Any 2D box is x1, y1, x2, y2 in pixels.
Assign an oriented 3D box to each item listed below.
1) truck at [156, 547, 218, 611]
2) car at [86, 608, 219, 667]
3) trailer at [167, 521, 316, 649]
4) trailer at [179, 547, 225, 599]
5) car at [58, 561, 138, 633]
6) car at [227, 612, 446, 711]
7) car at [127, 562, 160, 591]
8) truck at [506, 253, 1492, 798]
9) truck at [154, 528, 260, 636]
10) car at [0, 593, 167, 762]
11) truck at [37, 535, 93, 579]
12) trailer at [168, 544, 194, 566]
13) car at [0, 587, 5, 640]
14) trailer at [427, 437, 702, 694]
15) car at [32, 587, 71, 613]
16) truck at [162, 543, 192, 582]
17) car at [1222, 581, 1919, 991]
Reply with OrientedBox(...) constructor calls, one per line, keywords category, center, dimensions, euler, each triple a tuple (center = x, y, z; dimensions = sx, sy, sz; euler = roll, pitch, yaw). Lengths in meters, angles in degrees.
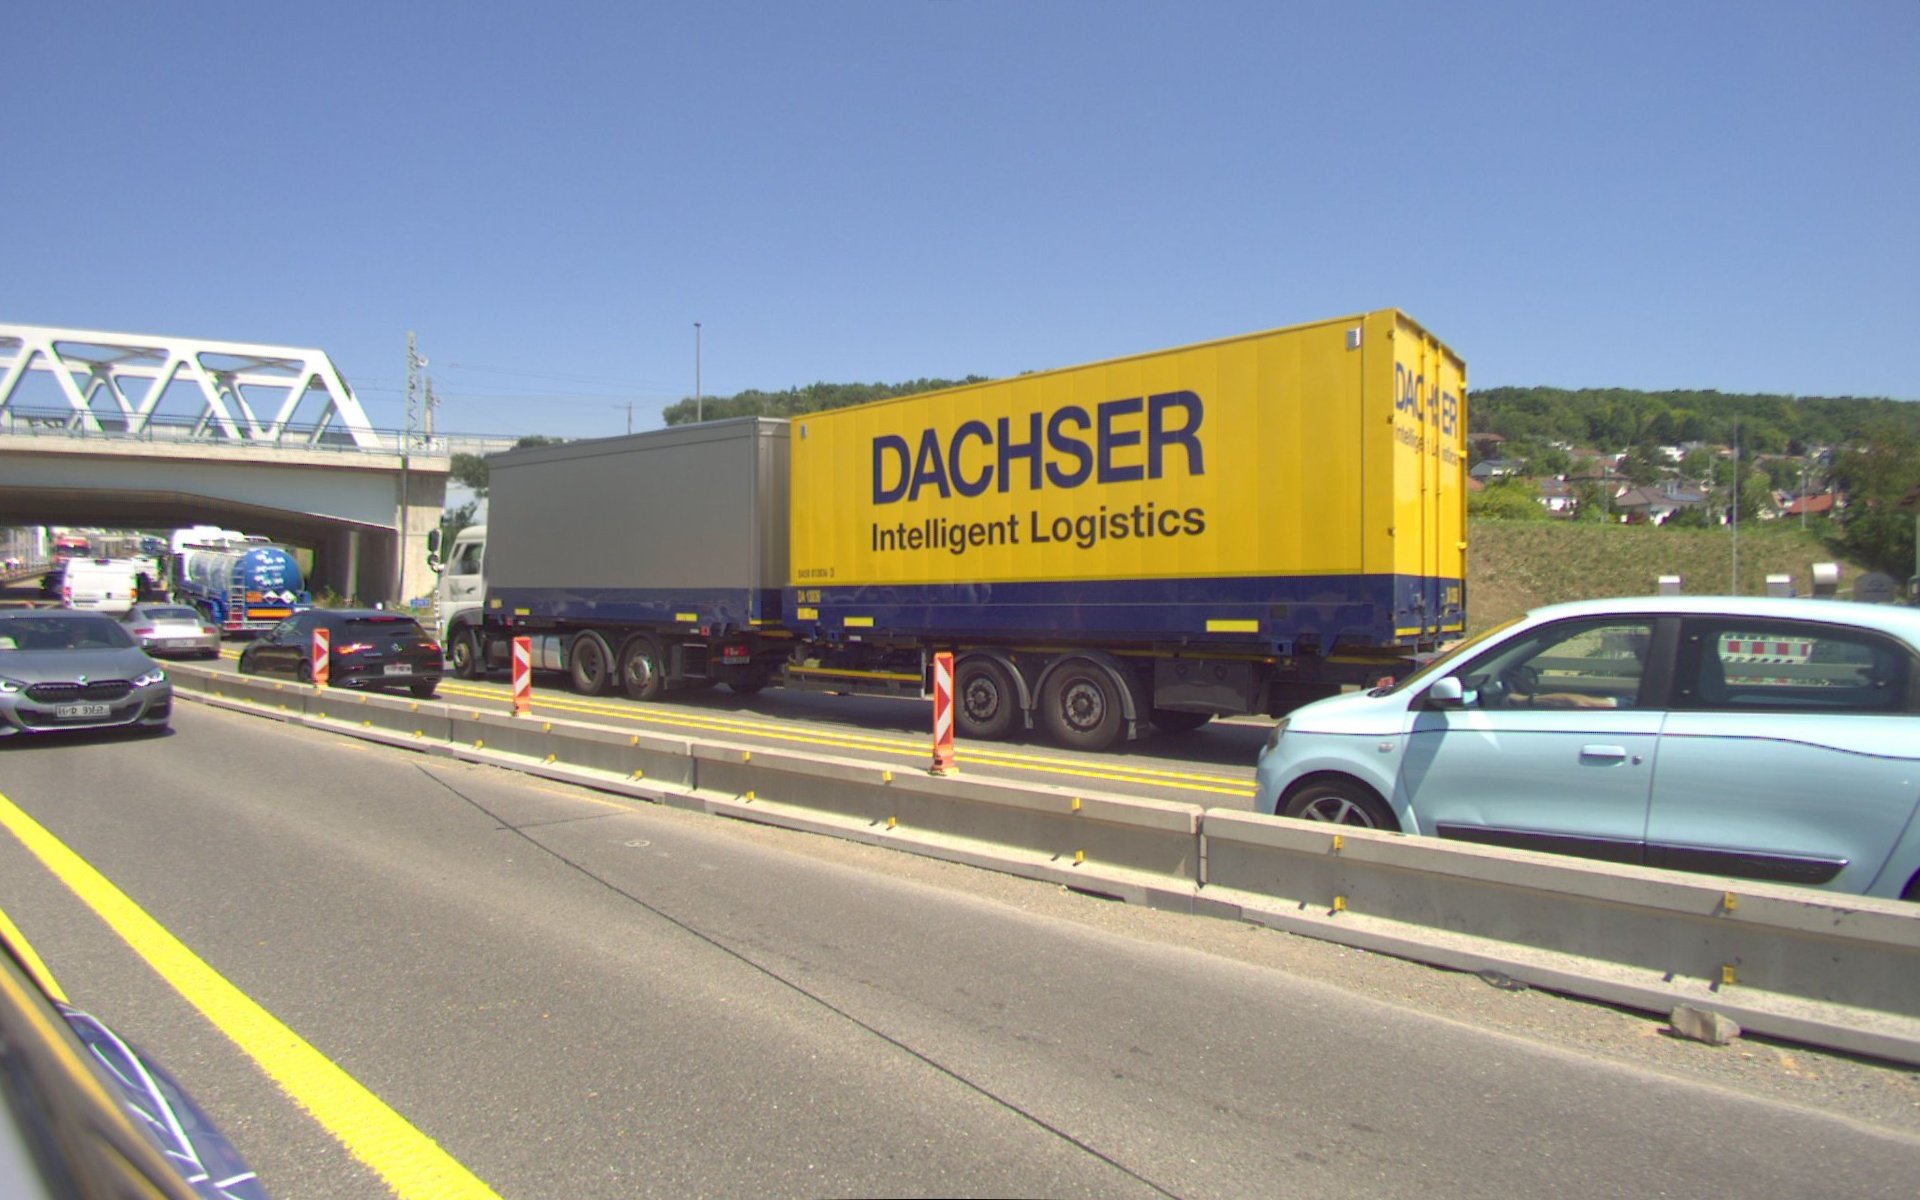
OrientedBox(category="truck", center=(-46.496, -1.267, 60.846), dimensions=(2.781, 3.602, 8.515), euler=(0, 1, -38))
OrientedBox(category="car", center=(-19.430, 0.843, 24.295), dimensions=(4.332, 1.274, 1.660), euler=(0, 0, 40))
OrientedBox(category="trailer", center=(-24.871, -0.561, 34.735), dimensions=(2.497, 3.817, 10.251), euler=(-1, 2, -45))
OrientedBox(category="trailer", center=(-63.911, -2.310, 85.211), dimensions=(2.840, 4.070, 14.389), euler=(-1, 2, -38))
OrientedBox(category="car", center=(-32.646, -0.194, 38.250), dimensions=(2.046, 2.522, 6.492), euler=(1, 1, -42))
OrientedBox(category="car", center=(-10.160, 0.886, 16.353), dimensions=(4.498, 1.372, 1.660), euler=(0, 0, 40))
OrientedBox(category="car", center=(-70.861, -2.036, 87.900), dimensions=(1.954, 2.347, 6.073), euler=(1, 1, -36))
OrientedBox(category="truck", center=(-1.340, -0.621, 14.160), dimensions=(15.363, 4.375, 2.778), euler=(0, 0, 40))
OrientedBox(category="truck", center=(-28.993, -0.709, 38.918), dimensions=(4.952, 3.850, 2.505), euler=(2, 2, 44))
OrientedBox(category="car", center=(-10.923, 0.769, 11.895), dimensions=(4.389, 1.609, 1.814), euler=(2, 1, 42))
OrientedBox(category="truck", center=(-91.544, -4.466, 103.692), dimensions=(3.409, 4.076, 10.236), euler=(1, 3, -37))
OrientedBox(category="trailer", center=(-146.472, -8.574, 190.390), dimensions=(2.619, 3.844, 11.857), euler=(1, 2, -32))
OrientedBox(category="car", center=(-28.515, 0.449, 28.719), dimensions=(1.811, 1.484, 4.397), euler=(1, 2, -40))
OrientedBox(category="trailer", center=(-7.730, -0.576, 19.569), dimensions=(5.215, 4.261, 2.836), euler=(1, 0, 41))
OrientedBox(category="car", center=(-57.522, -0.041, 64.053), dimensions=(1.775, 1.563, 4.005), euler=(0, 1, -42))
OrientedBox(category="truck", center=(-95.881, -4.714, 123.892), dimensions=(2.733, 4.345, 13.520), euler=(1, 3, -38))
OrientedBox(category="car", center=(3.470, 0.701, 4.802), dimensions=(3.997, 1.497, 1.620), euler=(-2, -1, 40))
